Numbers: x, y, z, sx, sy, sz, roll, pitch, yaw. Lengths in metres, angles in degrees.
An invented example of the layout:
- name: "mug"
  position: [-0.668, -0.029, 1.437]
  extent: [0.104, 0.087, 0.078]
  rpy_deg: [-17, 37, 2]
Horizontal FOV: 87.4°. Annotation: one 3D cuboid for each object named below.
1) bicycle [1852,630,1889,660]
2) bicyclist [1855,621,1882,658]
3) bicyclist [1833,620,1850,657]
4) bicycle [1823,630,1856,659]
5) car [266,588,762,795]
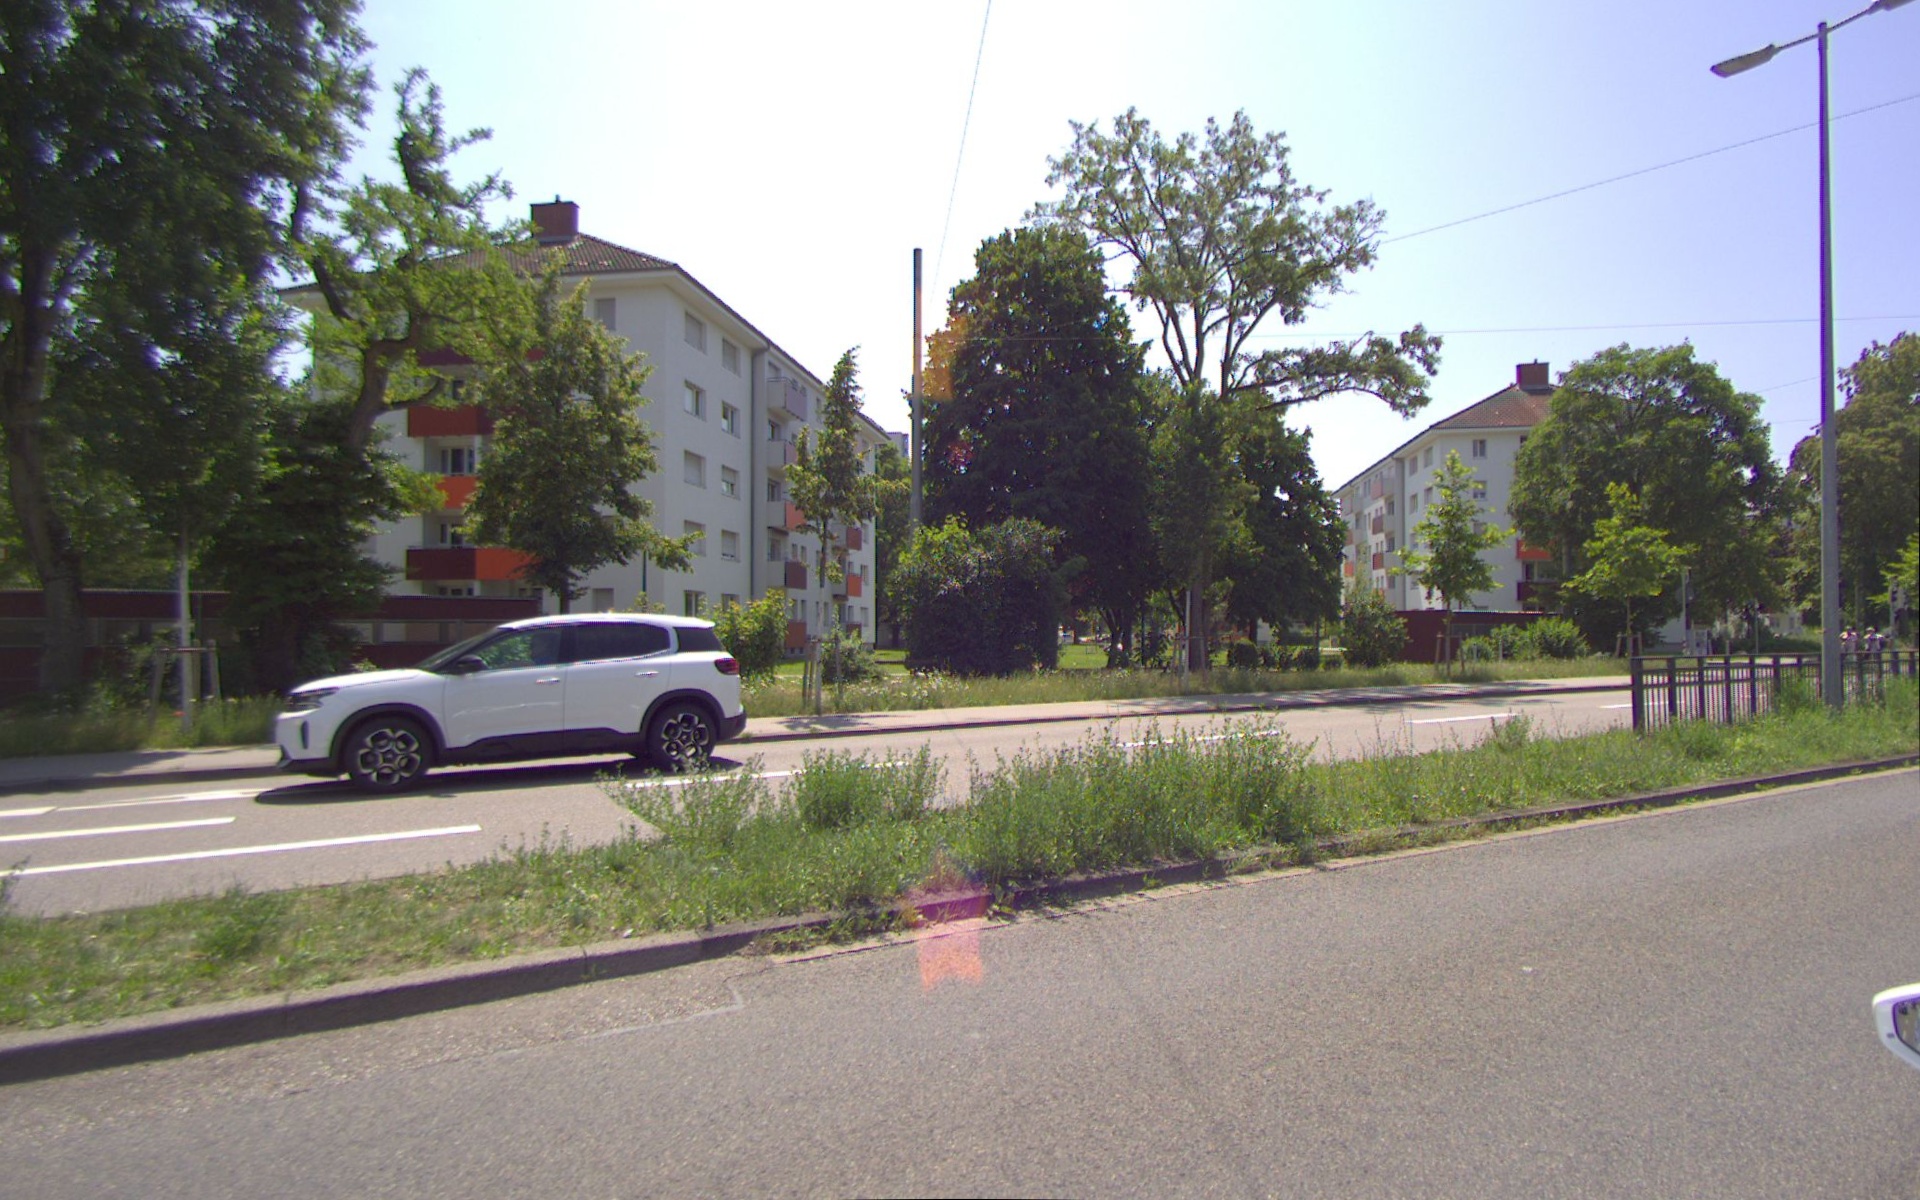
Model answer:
- name: "bicycle"
  position: [34.550, 1.702, 38.112]
  extent: [1.596, 1.148, 0.585]
  rpy_deg: [1, -2, -31]
- name: "bicyclist"
  position: [34.374, 1.497, 37.994]
  extent: [0.747, 1.363, 0.542]
  rpy_deg: [1, -2, -32]
- name: "bicyclist"
  position: [34.063, 1.478, 38.806]
  extent: [0.435, 1.410, 0.356]
  rpy_deg: [1, 0, -28]
- name: "bicycle"
  position: [33.941, 1.717, 38.761]
  extent: [1.363, 1.109, 0.551]
  rpy_deg: [2, -1, -30]
- name: "car"
  position: [-4.523, 0.892, 10.597]
  extent: [4.429, 1.781, 1.850]
  rpy_deg: [2, -3, -31]
